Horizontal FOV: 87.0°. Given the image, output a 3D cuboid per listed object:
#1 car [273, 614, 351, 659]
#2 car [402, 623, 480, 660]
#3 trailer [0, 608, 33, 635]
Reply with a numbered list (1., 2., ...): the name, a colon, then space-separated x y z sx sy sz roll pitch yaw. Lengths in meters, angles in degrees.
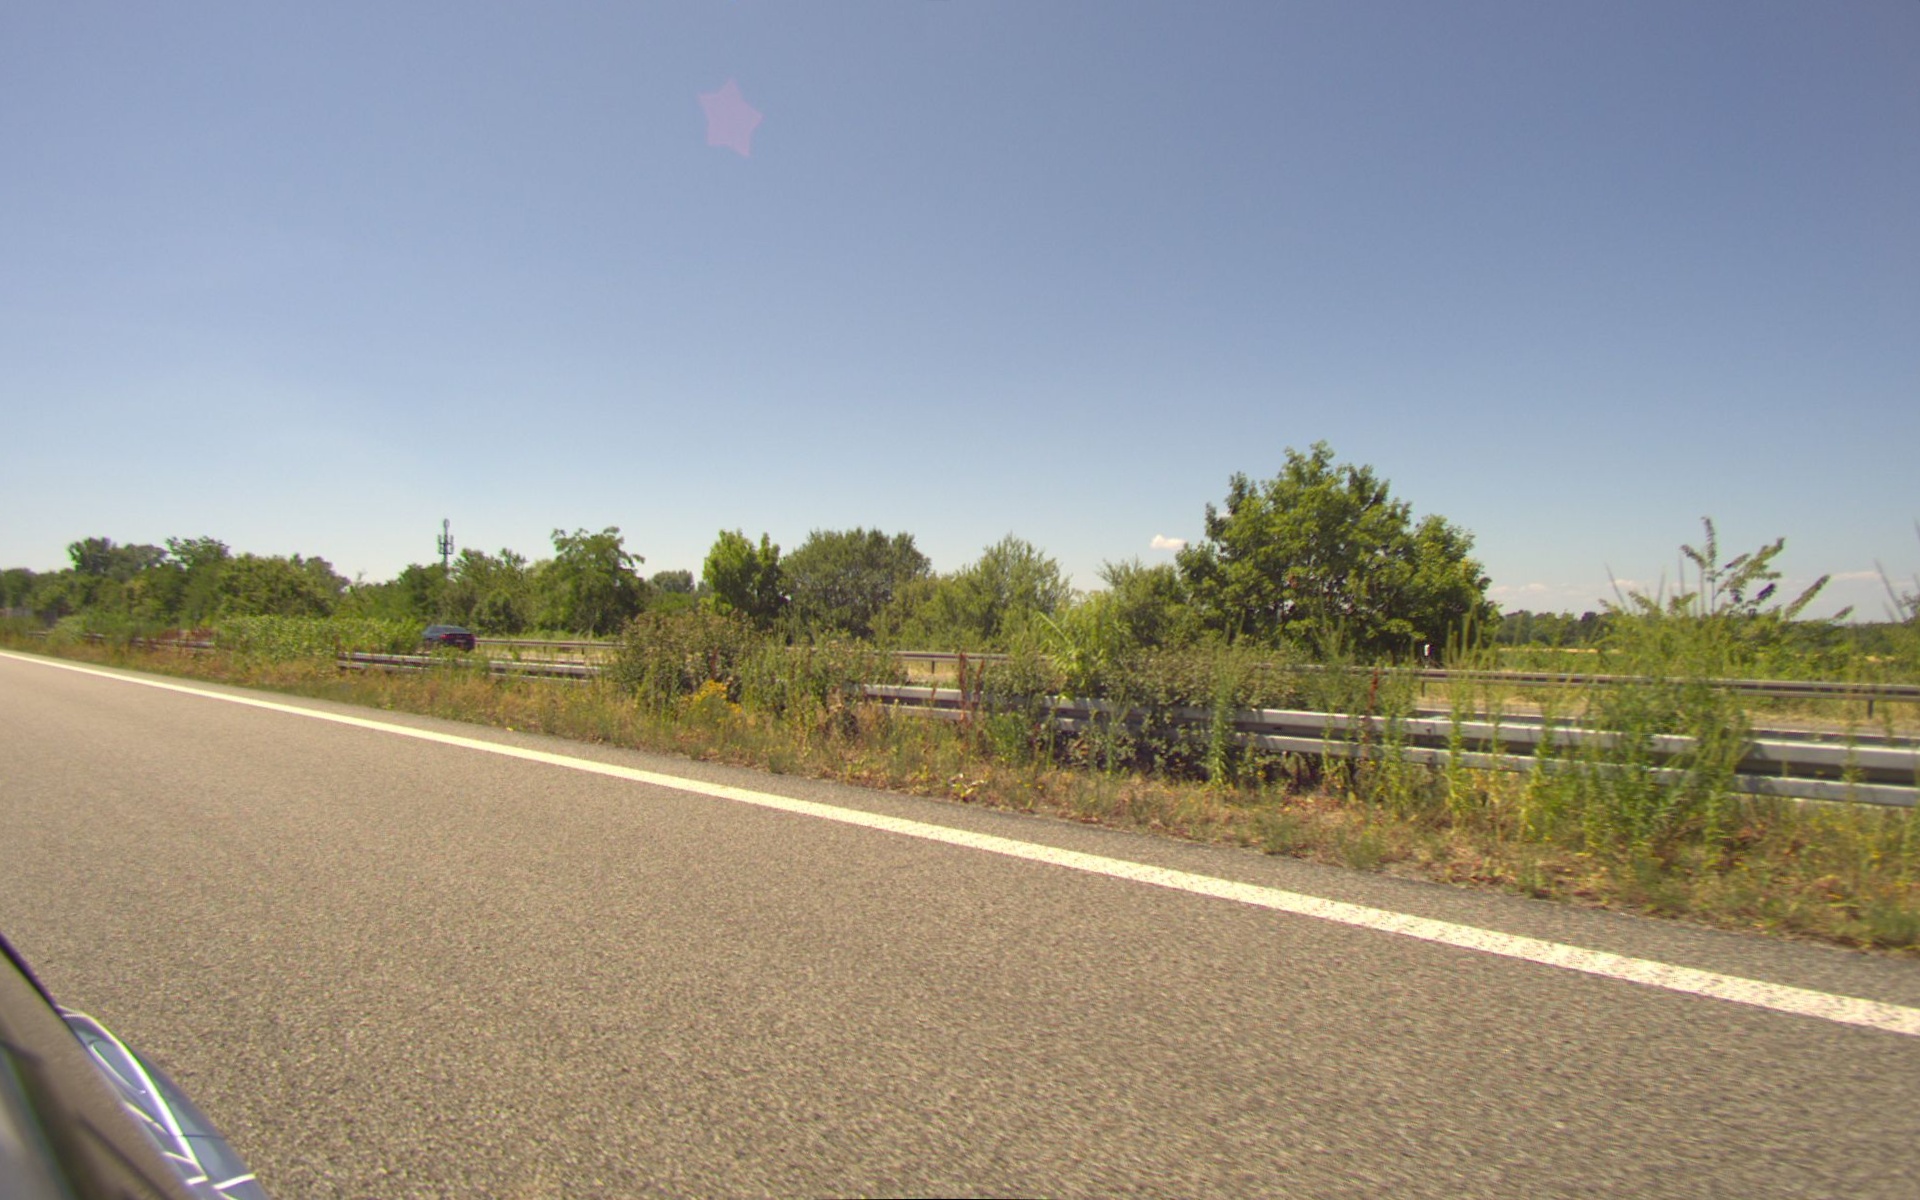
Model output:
1. car: -31.380 1.716 48.971 4.645 2.029 1.946 -1 0 41
2. car: -25.811 2.019 50.272 4.420 1.685 1.946 -1 0 41
3. trailer: -147.670 3.406 158.378 10.625 4.005 2.900 -1 0 42
